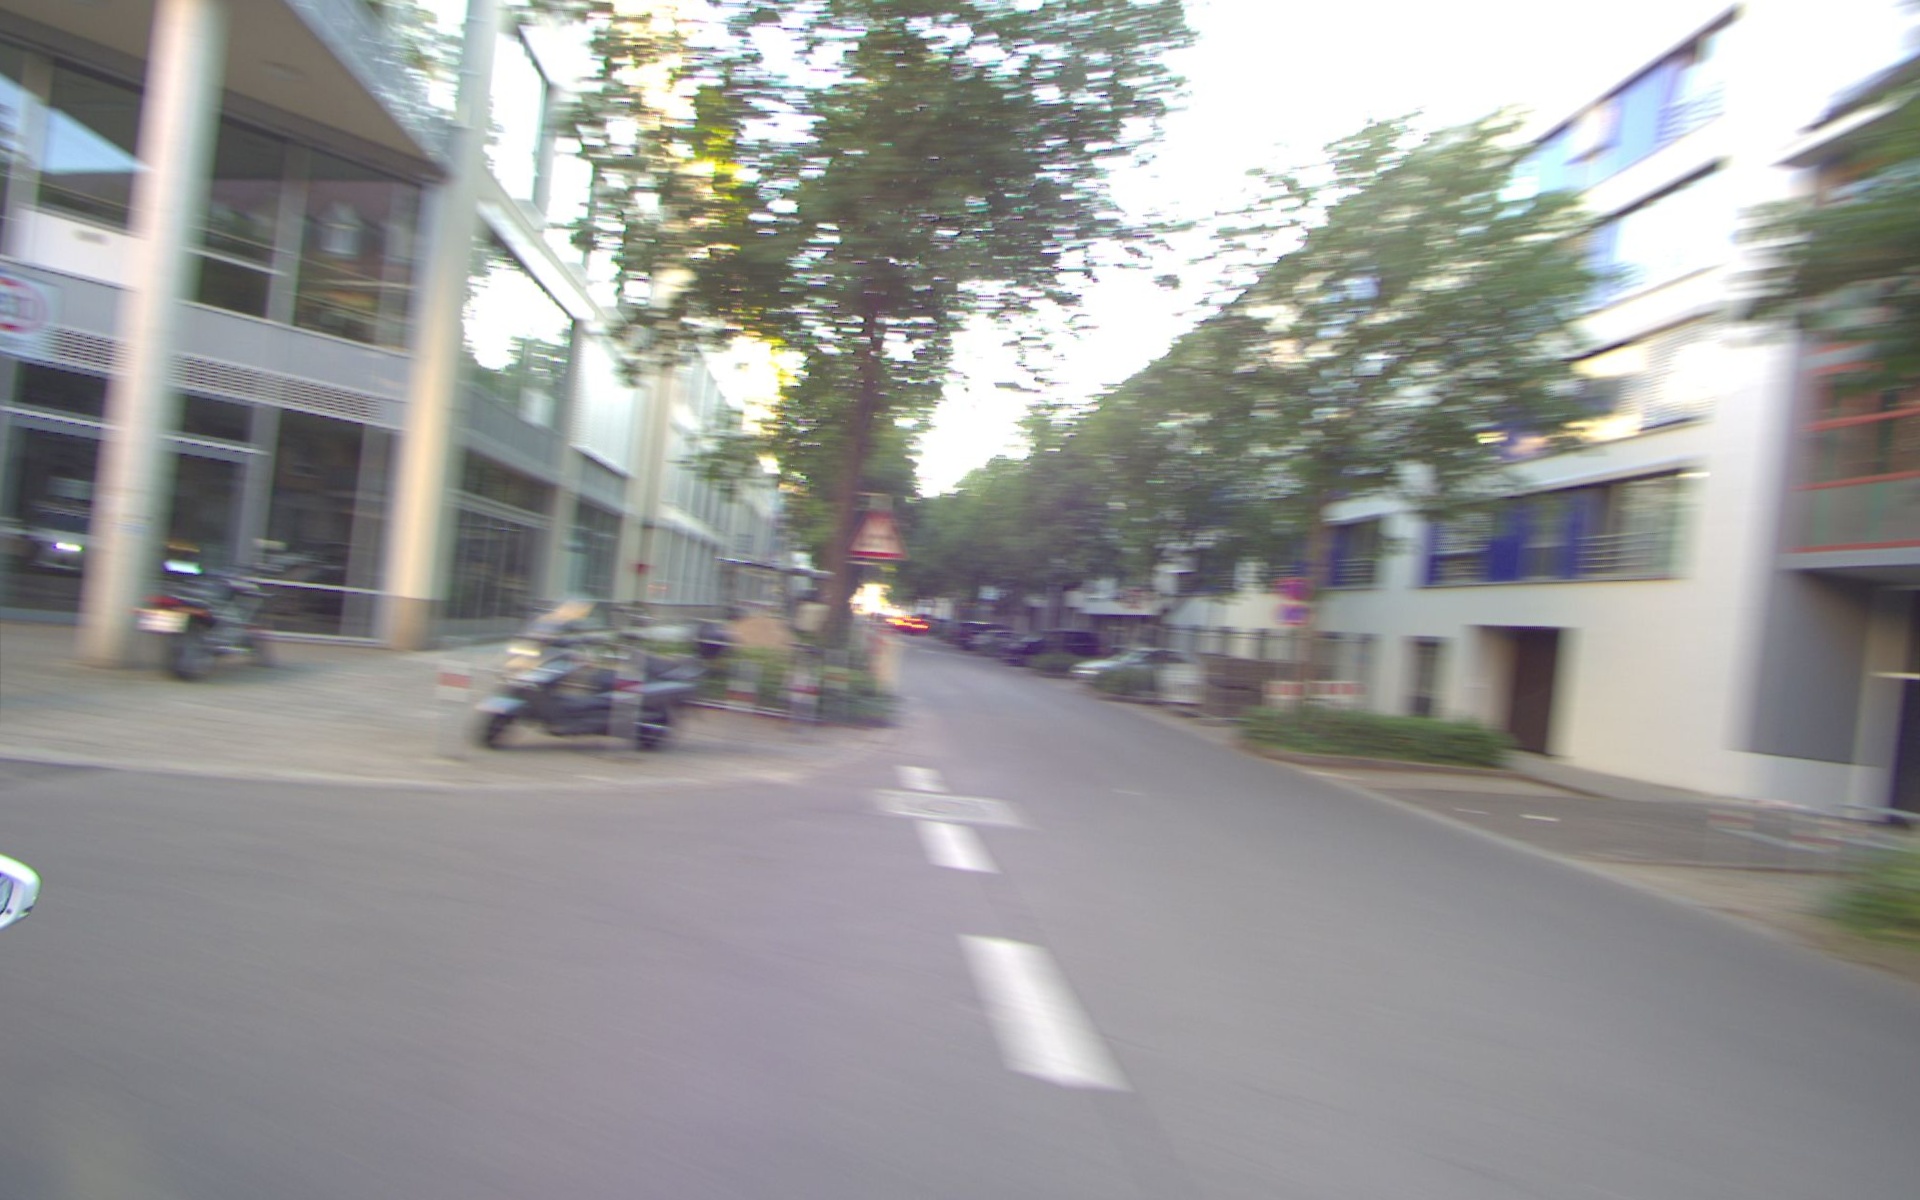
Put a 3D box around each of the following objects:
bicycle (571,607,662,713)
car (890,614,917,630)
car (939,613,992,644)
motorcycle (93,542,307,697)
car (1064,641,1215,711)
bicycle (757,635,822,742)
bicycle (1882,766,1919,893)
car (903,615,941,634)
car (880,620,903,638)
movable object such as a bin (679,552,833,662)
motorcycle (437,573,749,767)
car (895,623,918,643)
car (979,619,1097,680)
[{"bbox_3d":[-4.214,0.696,12.454,0.592,1.132,1.797,7,0,-7],"label":"bicycle"},{"bbox_3d":[-8.978,3.453,159.593,3.930,2.037,1.999,8,-1,-6],"label":"car"},{"bbox_3d":[0.399,2.346,83.243,3.932,2.037,1.998,8,-1,-8],"label":"car"},{"bbox_3d":[-7.375,0.165,9.919,0.605,1.289,2.123,7,0,-8],"label":"motorcycle"},{"bbox_3d":[5.743,2.431,32.459,4.373,1.610,1.628,8,-1,-5],"label":"car"},{"bbox_3d":[-2.118,1.069,12.671,0.592,1.132,1.797,7,0,-7],"label":"bicycle"},{"bbox_3d":[9.849,2.295,9.533,0.715,1.187,1.499,3,0,-6],"label":"bicycle"},{"bbox_3d":[-4.349,2.785,115.805,3.934,1.616,1.997,8,-1,-11],"label":"car"},{"bbox_3d":[-6.668,2.824,97.951,1.790,1.449,3.930,8,-1,-9],"label":"car"},{"bbox_3d":[-5.402,0.206,27.047,3.615,2.360,2.580,8,-1,-9],"label":"movable object such as a bin"},{"bbox_3d":[-3.162,0.666,8.933,0.791,1.458,2.368,7,-1,43],"label":"motorcycle"},{"bbox_3d":[-4.532,2.758,85.103,1.479,1.433,3.710,7,-1,-7],"label":"car"},{"bbox_3d":[3.523,2.238,45.856,4.902,2.112,1.736,8,-1,-7],"label":"car"}]
